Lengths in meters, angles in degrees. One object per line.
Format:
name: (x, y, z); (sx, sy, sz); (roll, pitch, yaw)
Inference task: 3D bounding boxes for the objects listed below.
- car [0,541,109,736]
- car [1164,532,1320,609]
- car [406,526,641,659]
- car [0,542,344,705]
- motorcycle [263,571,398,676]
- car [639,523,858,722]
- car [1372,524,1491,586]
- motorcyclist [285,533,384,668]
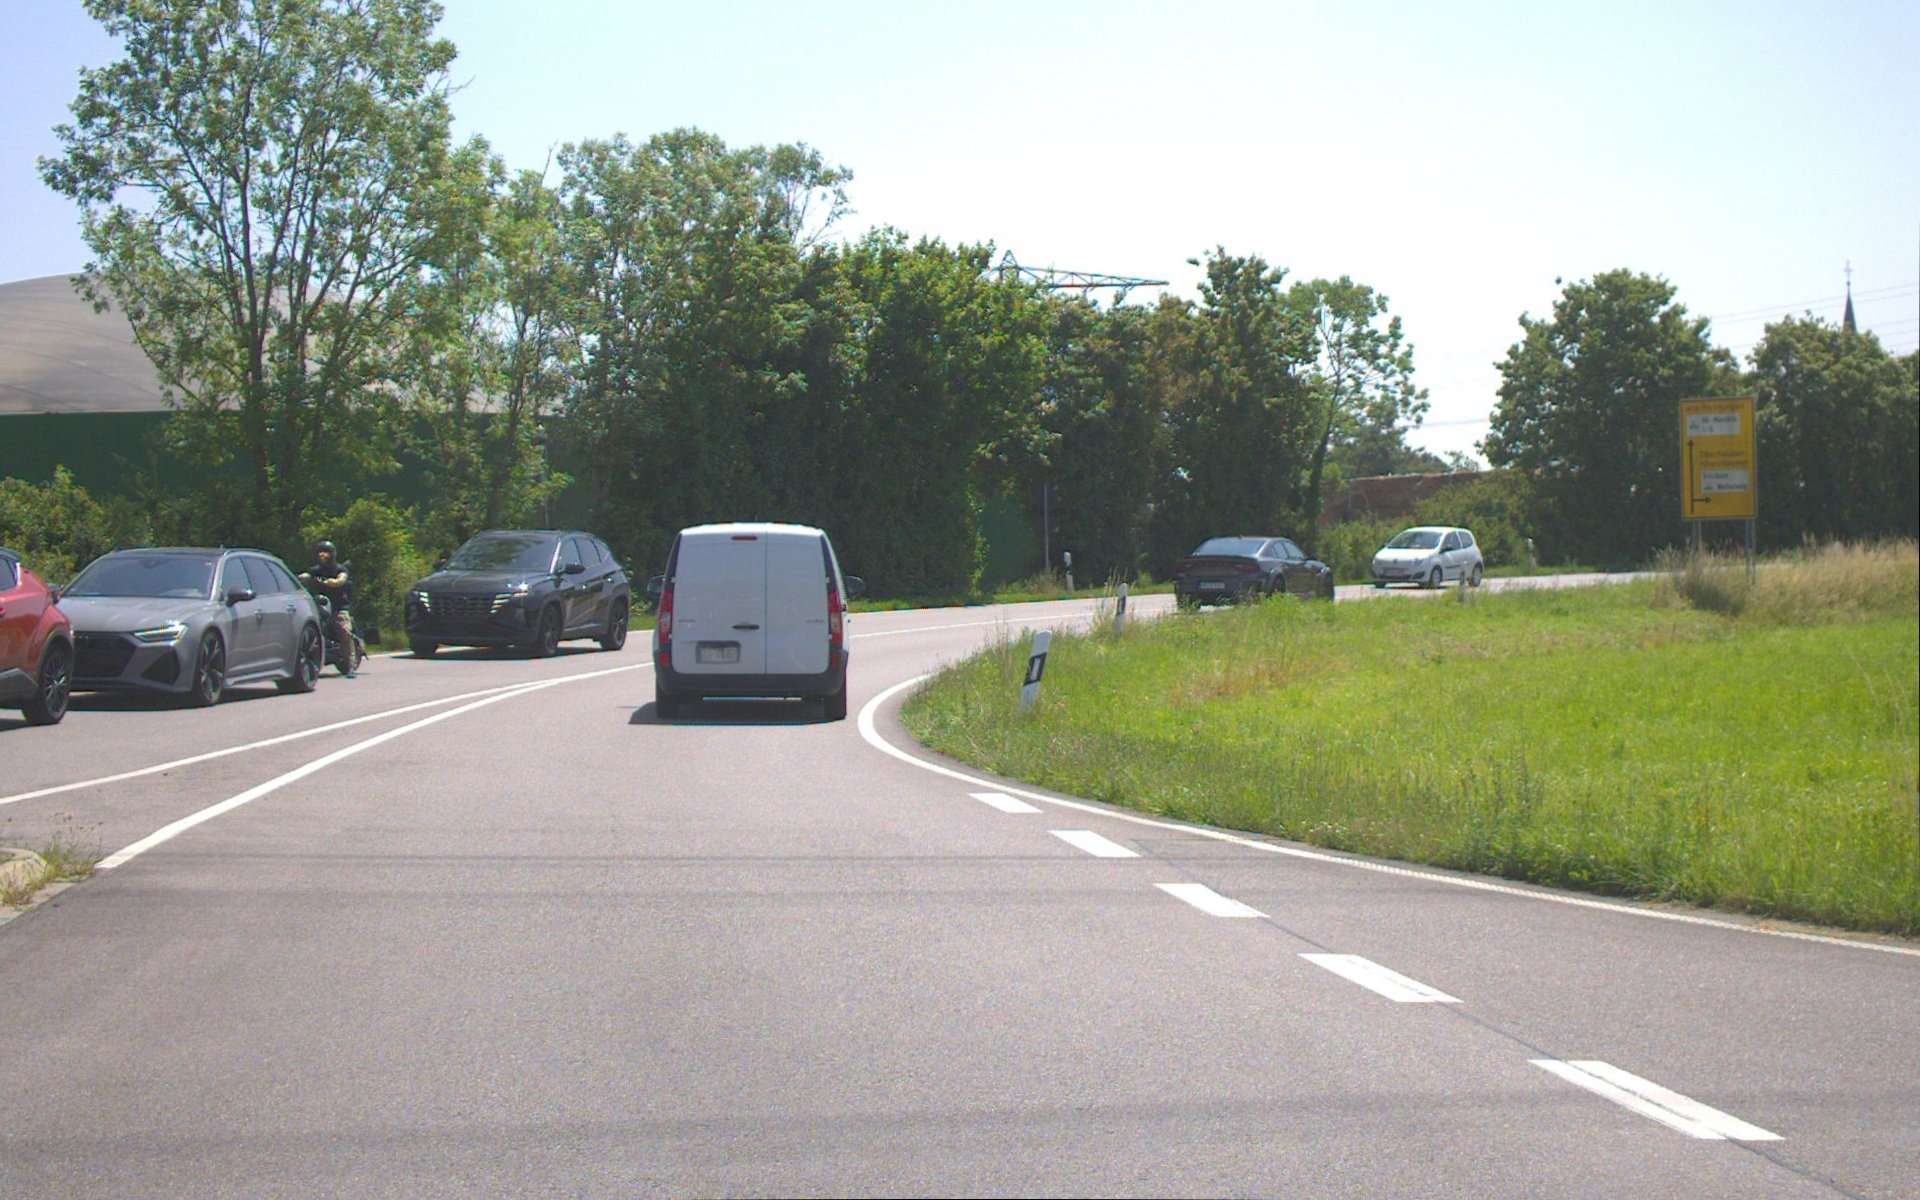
car: (-8.483, 0.269, 27.286); (1.799, 1.510, 4.390); (4, 1, 8)
car: (5.431, -0.573, 65.858); (1.721, 1.415, 3.740); (-1, 0, 26)
car: (-5.674, -0.144, 45.191); (1.703, 1.632, 4.247); (1, 2, 13)
car: (-7.612, 0.191, 33.322); (1.842, 1.455, 4.808); (0, 0, 8)
motorcycle: (-7.042, 0.245, 38.583); (0.782, 1.119, 2.429); (1, 1, 7)
car: (-1.996, 0.188, 32.489); (1.903, 1.726, 3.823); (-1, 0, -3)
car: (11.647, -1.095, 84.711); (1.539, 1.438, 3.601); (2, 1, 32)
motorcyclist: (-7.026, 0.004, 38.638); (0.781, 1.490, 1.130); (0, 1, 7)
